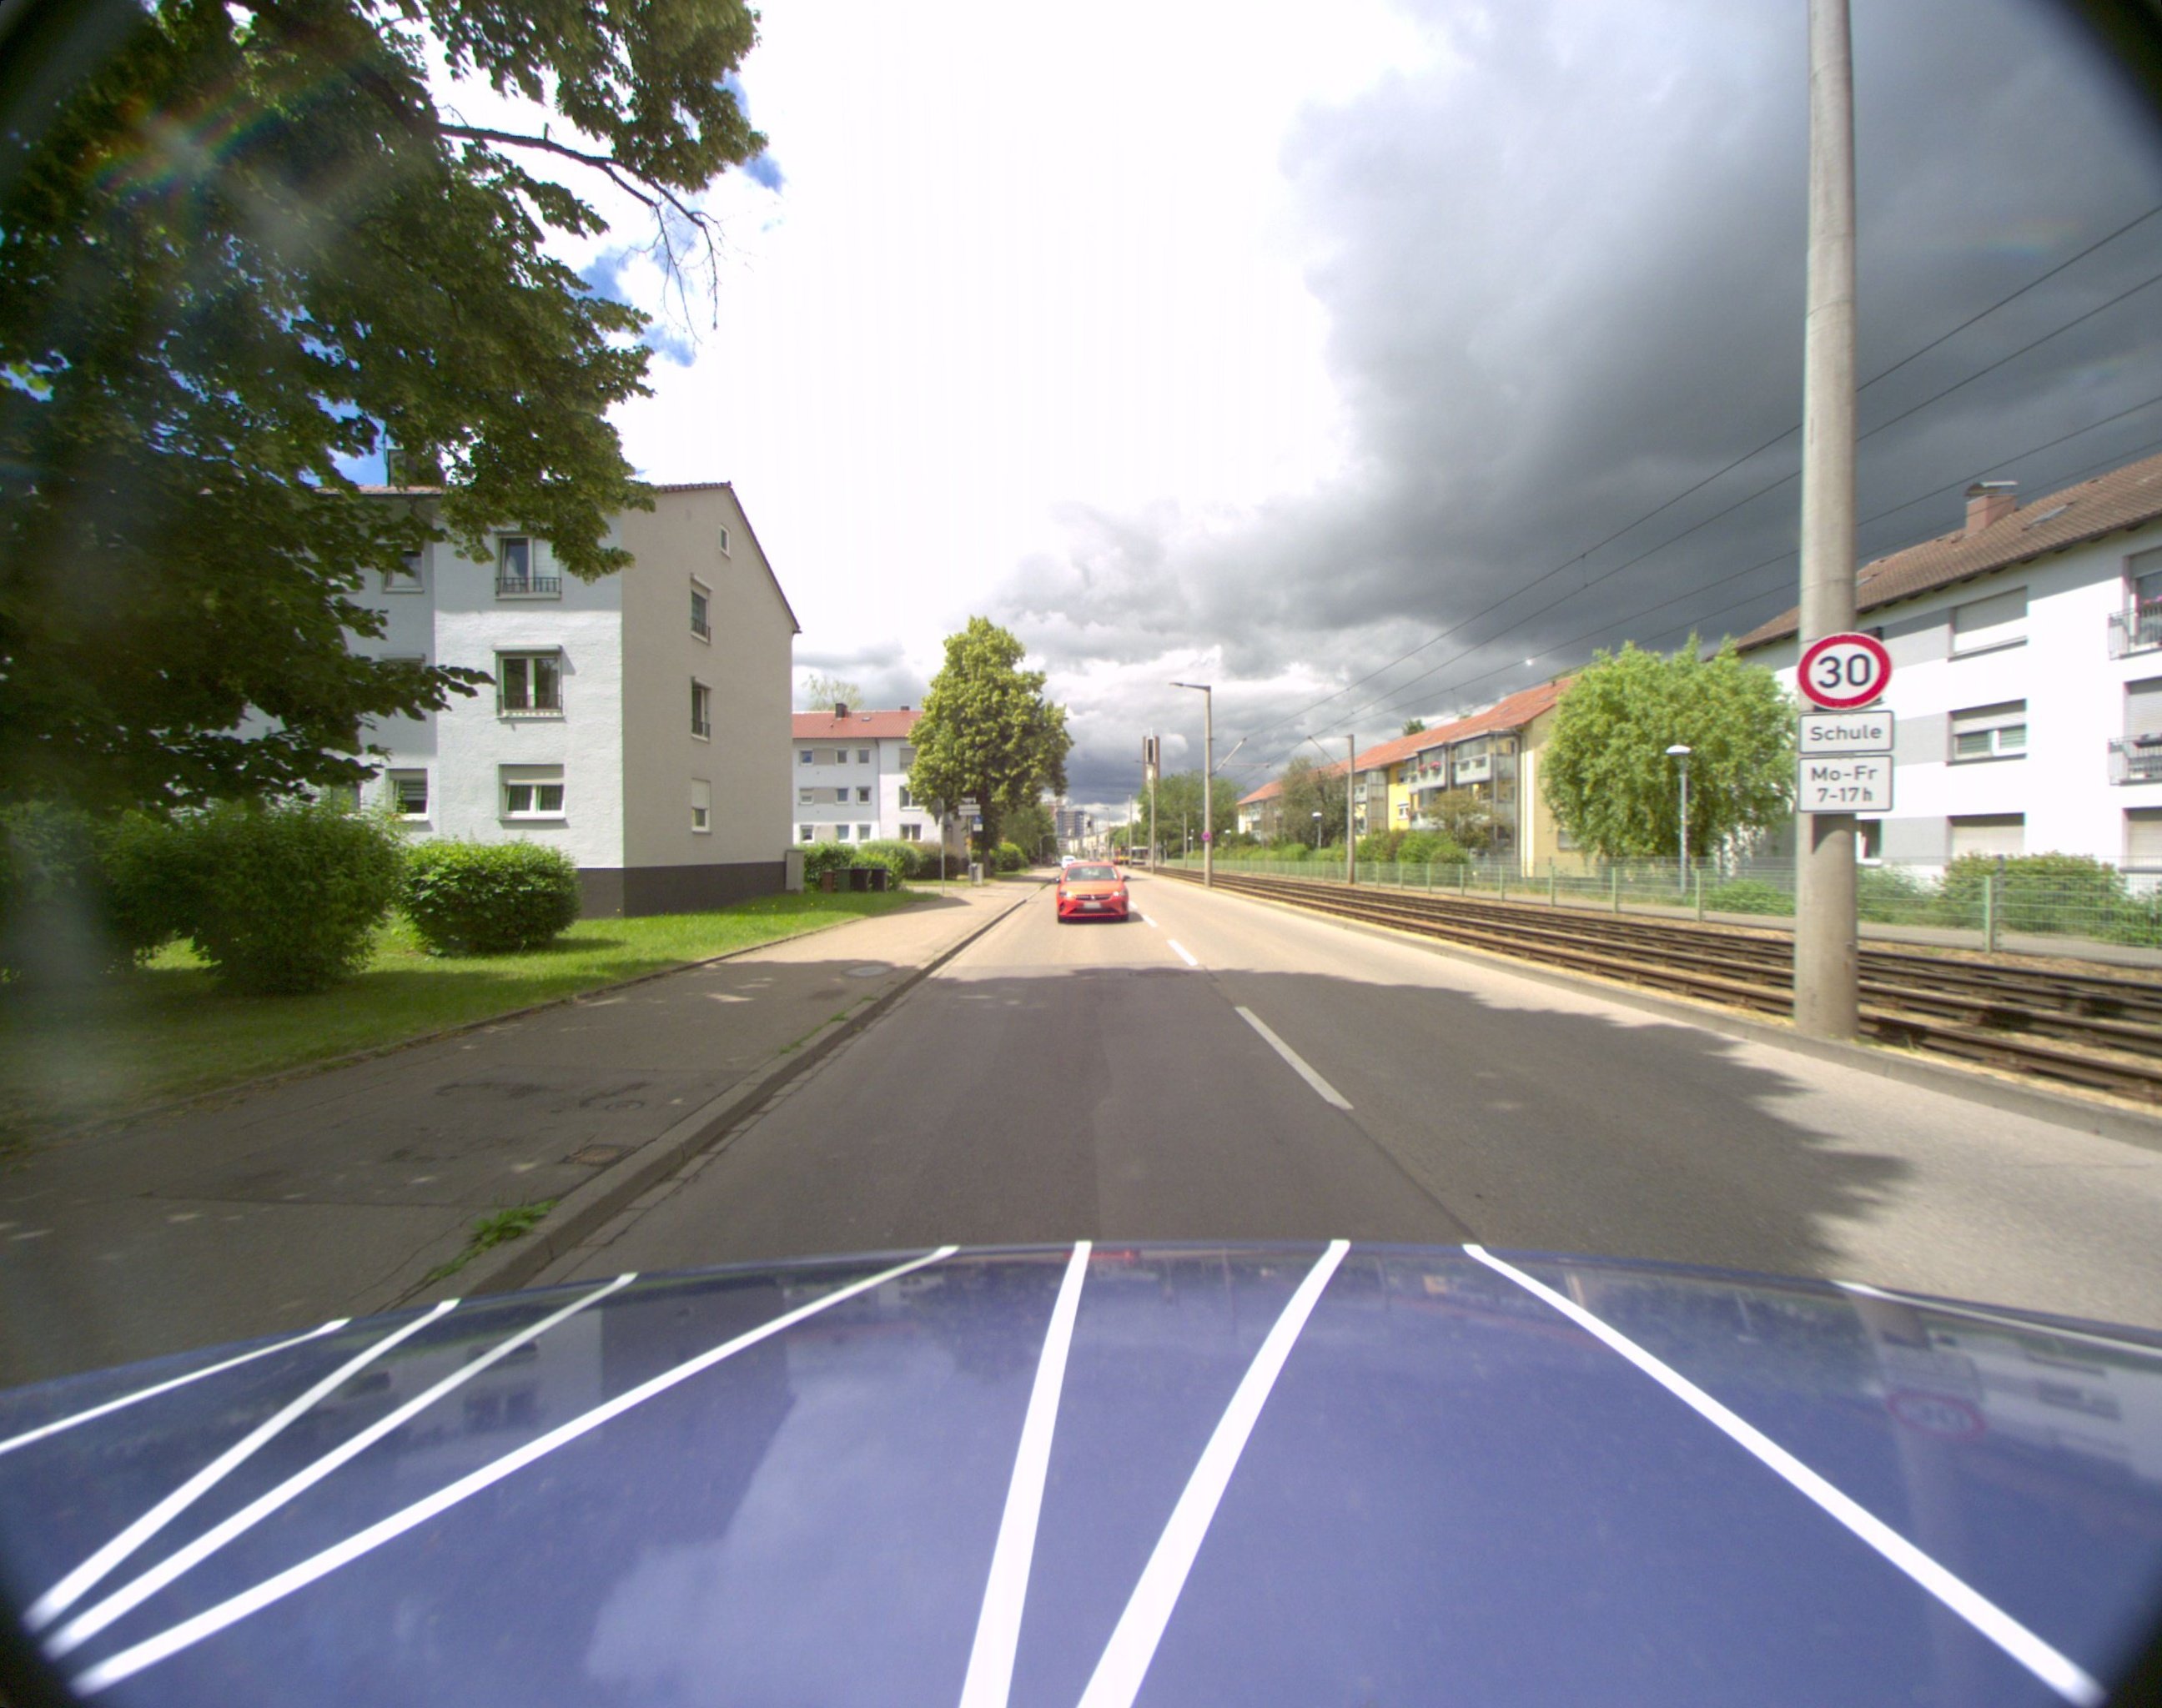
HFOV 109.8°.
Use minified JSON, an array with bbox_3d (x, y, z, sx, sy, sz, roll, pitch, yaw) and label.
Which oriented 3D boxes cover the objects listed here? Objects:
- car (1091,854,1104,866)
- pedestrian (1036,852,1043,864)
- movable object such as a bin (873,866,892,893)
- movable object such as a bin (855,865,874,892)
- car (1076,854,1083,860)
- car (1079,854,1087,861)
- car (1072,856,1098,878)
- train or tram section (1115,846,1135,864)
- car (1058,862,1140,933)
[{"bbox_3d":[2.250,0.842,103.960,1.628,1.516,3.581,-1,0,0],"label":"car"},{"bbox_3d":[-6.155,0.629,112.989,0.811,1.761,0.817,2,1,5],"label":"pedestrian"},{"bbox_3d":[-7.094,0.894,27.149,0.497,0.949,0.580,1,0,0],"label":"movable object such as a bin"},{"bbox_3d":[-7.749,0.884,27.192,0.501,0.941,0.551,1,0,0],"label":"movable object such as a bin"},{"bbox_3d":[-0.389,0.671,202.722,1.765,1.543,3.999,-1,0,-3],"label":"car"},{"bbox_3d":[0.546,0.851,181.013,1.633,1.424,4.166,-2,0,-3],"label":"car"},{"bbox_3d":[0.299,0.914,55.271,1.756,1.433,4.226,-1,0,0],"label":"car"},{"bbox_3d":[10.007,0.186,175.485,2.988,3.840,18.535,-2,0,-1],"label":"train or tram section"},{"bbox_3d":[0.408,0.966,18.534,1.756,1.433,4.226,-1,0,0],"label":"car"}]
